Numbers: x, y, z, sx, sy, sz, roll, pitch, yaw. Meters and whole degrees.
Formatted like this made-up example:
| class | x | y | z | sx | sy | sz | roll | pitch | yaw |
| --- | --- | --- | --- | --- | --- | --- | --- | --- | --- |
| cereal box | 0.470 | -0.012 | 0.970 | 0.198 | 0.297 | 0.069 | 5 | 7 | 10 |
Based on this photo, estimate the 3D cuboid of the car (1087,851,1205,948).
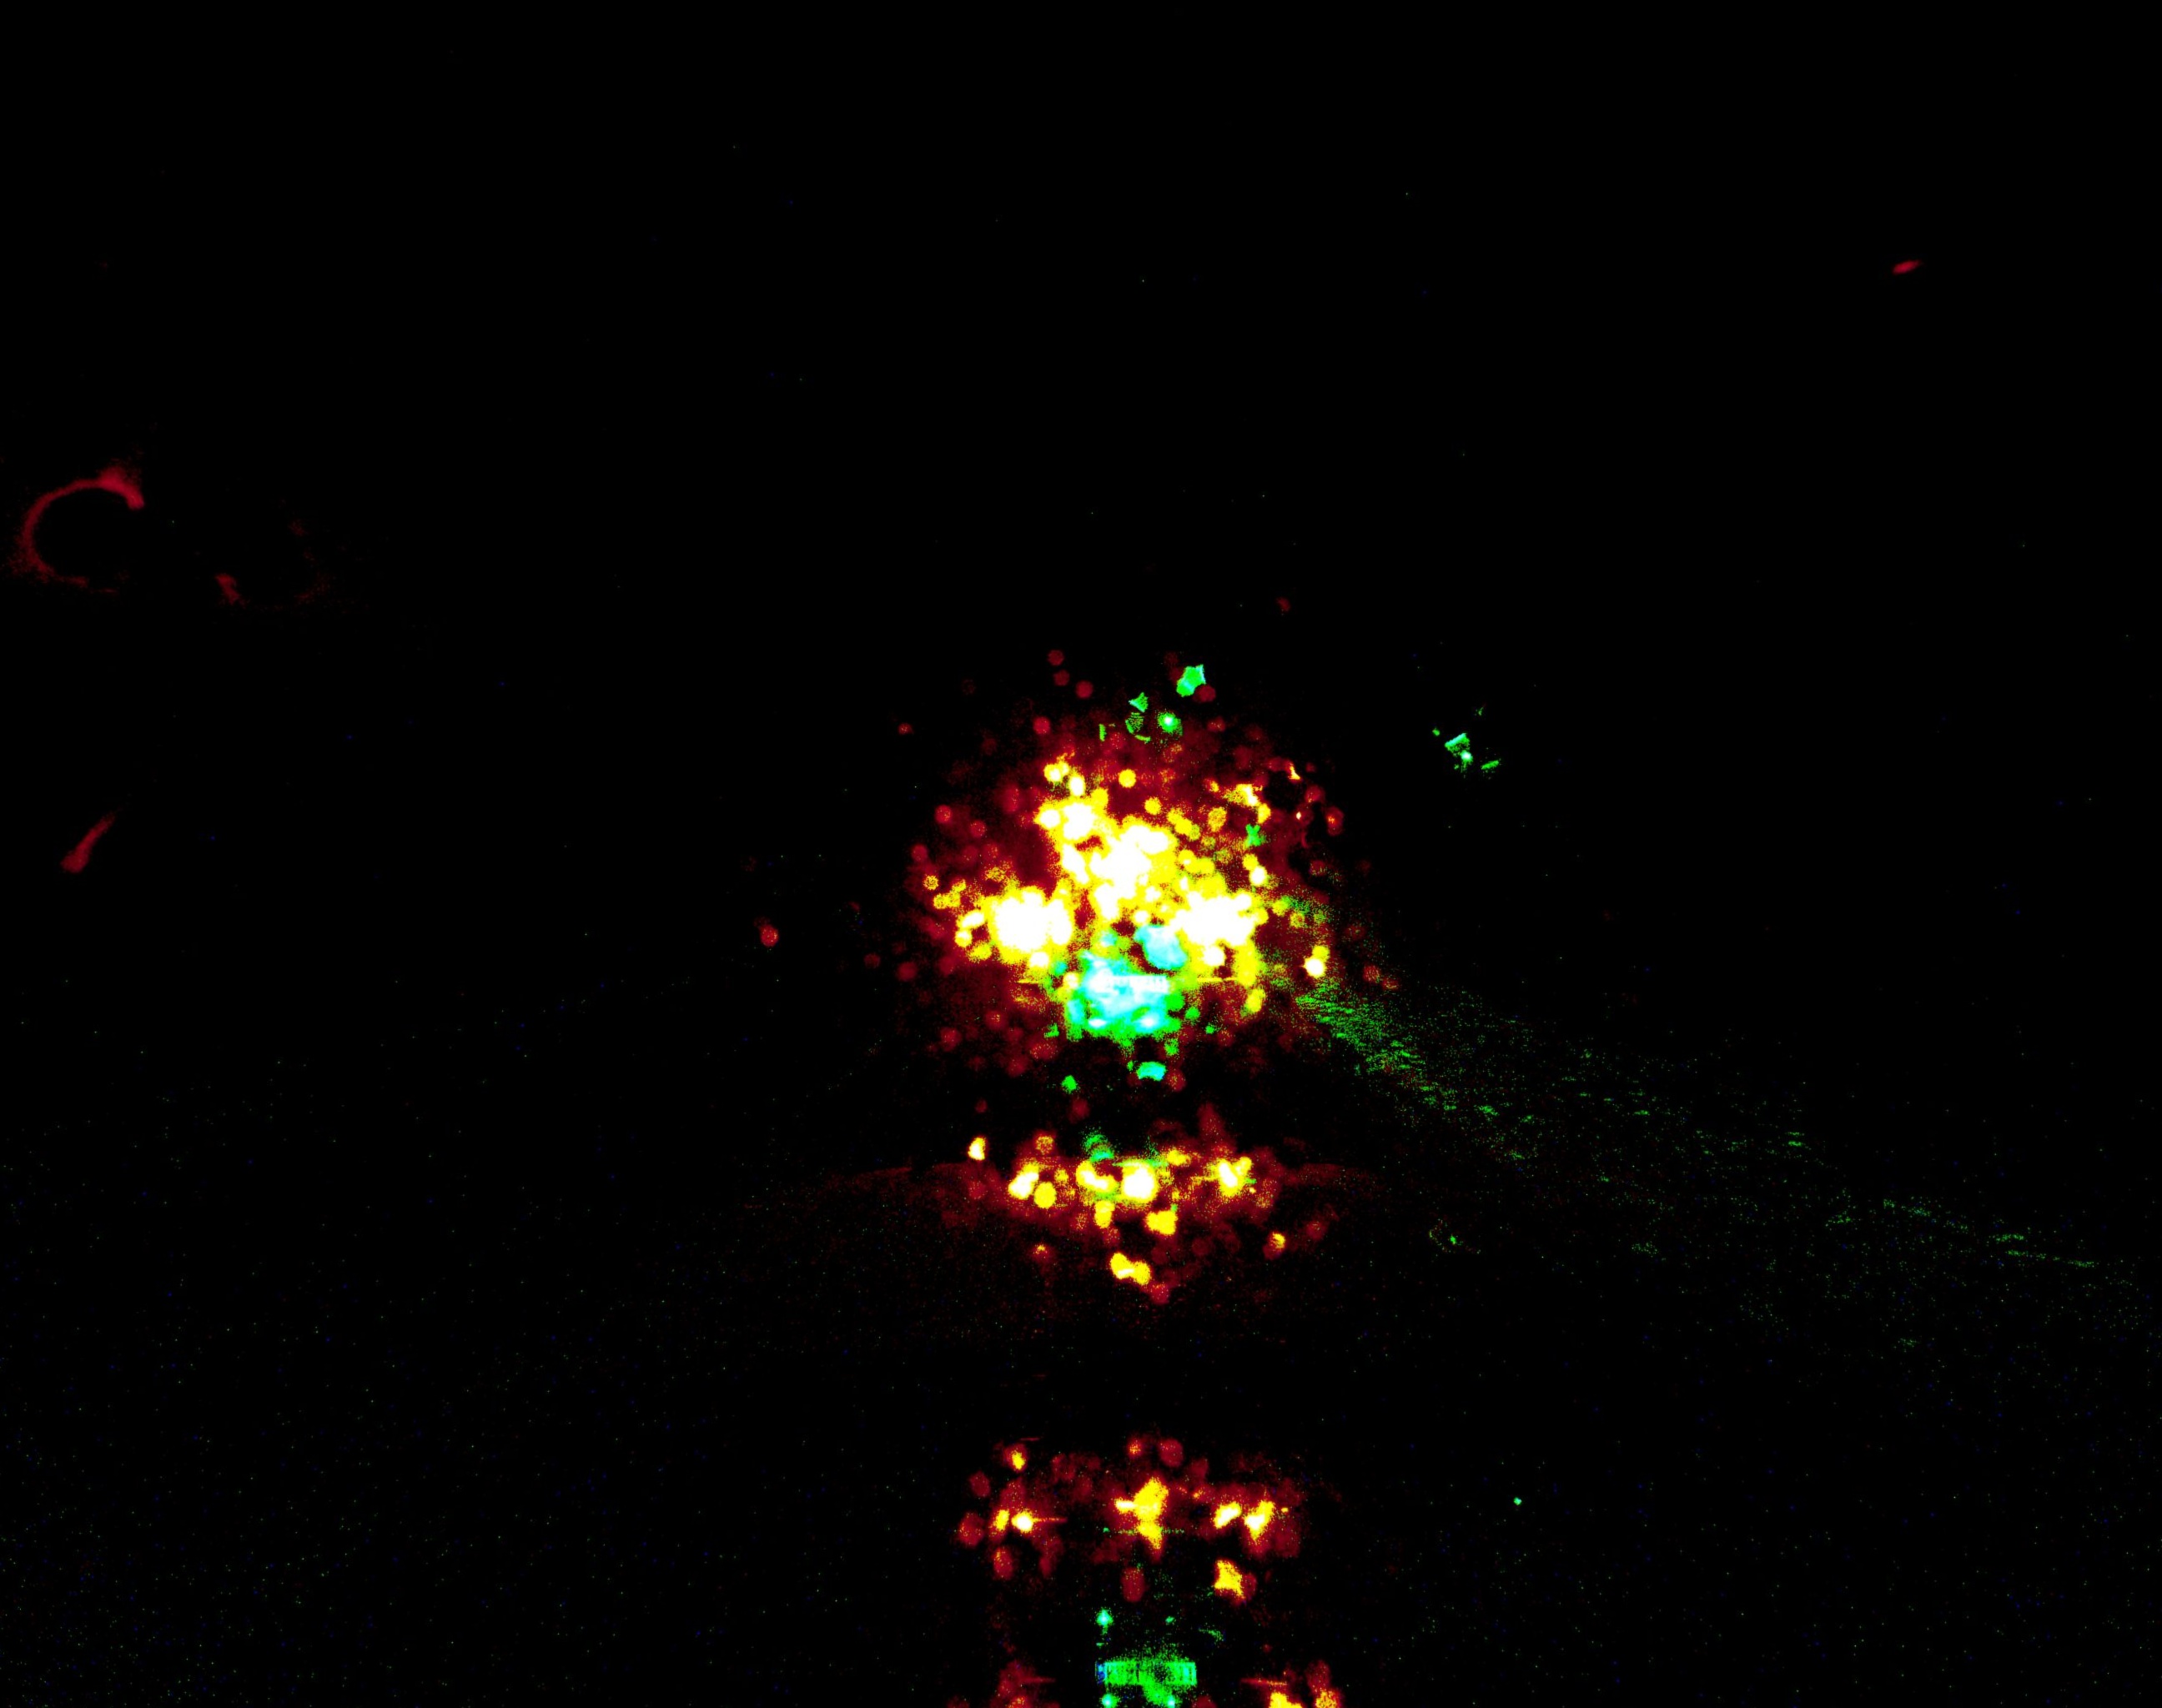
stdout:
| class | x | y | z | sx | sy | sz | roll | pitch | yaw |
| --- | --- | --- | --- | --- | --- | --- | --- | --- | --- |
| car | 1.167 | 0.684 | 14.275 | 1.735 | 1.415 | 4.006 | -2 | 0 | 5 |

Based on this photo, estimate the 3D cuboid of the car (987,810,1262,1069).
| class | x | y | z | sx | sy | sz | roll | pitch | yaw |
| --- | --- | --- | --- | --- | --- | --- | --- | --- | --- |
| car | 0.389 | 0.550 | 7.337 | 1.783 | 1.681 | 3.908 | -1 | 1 | 3 |
